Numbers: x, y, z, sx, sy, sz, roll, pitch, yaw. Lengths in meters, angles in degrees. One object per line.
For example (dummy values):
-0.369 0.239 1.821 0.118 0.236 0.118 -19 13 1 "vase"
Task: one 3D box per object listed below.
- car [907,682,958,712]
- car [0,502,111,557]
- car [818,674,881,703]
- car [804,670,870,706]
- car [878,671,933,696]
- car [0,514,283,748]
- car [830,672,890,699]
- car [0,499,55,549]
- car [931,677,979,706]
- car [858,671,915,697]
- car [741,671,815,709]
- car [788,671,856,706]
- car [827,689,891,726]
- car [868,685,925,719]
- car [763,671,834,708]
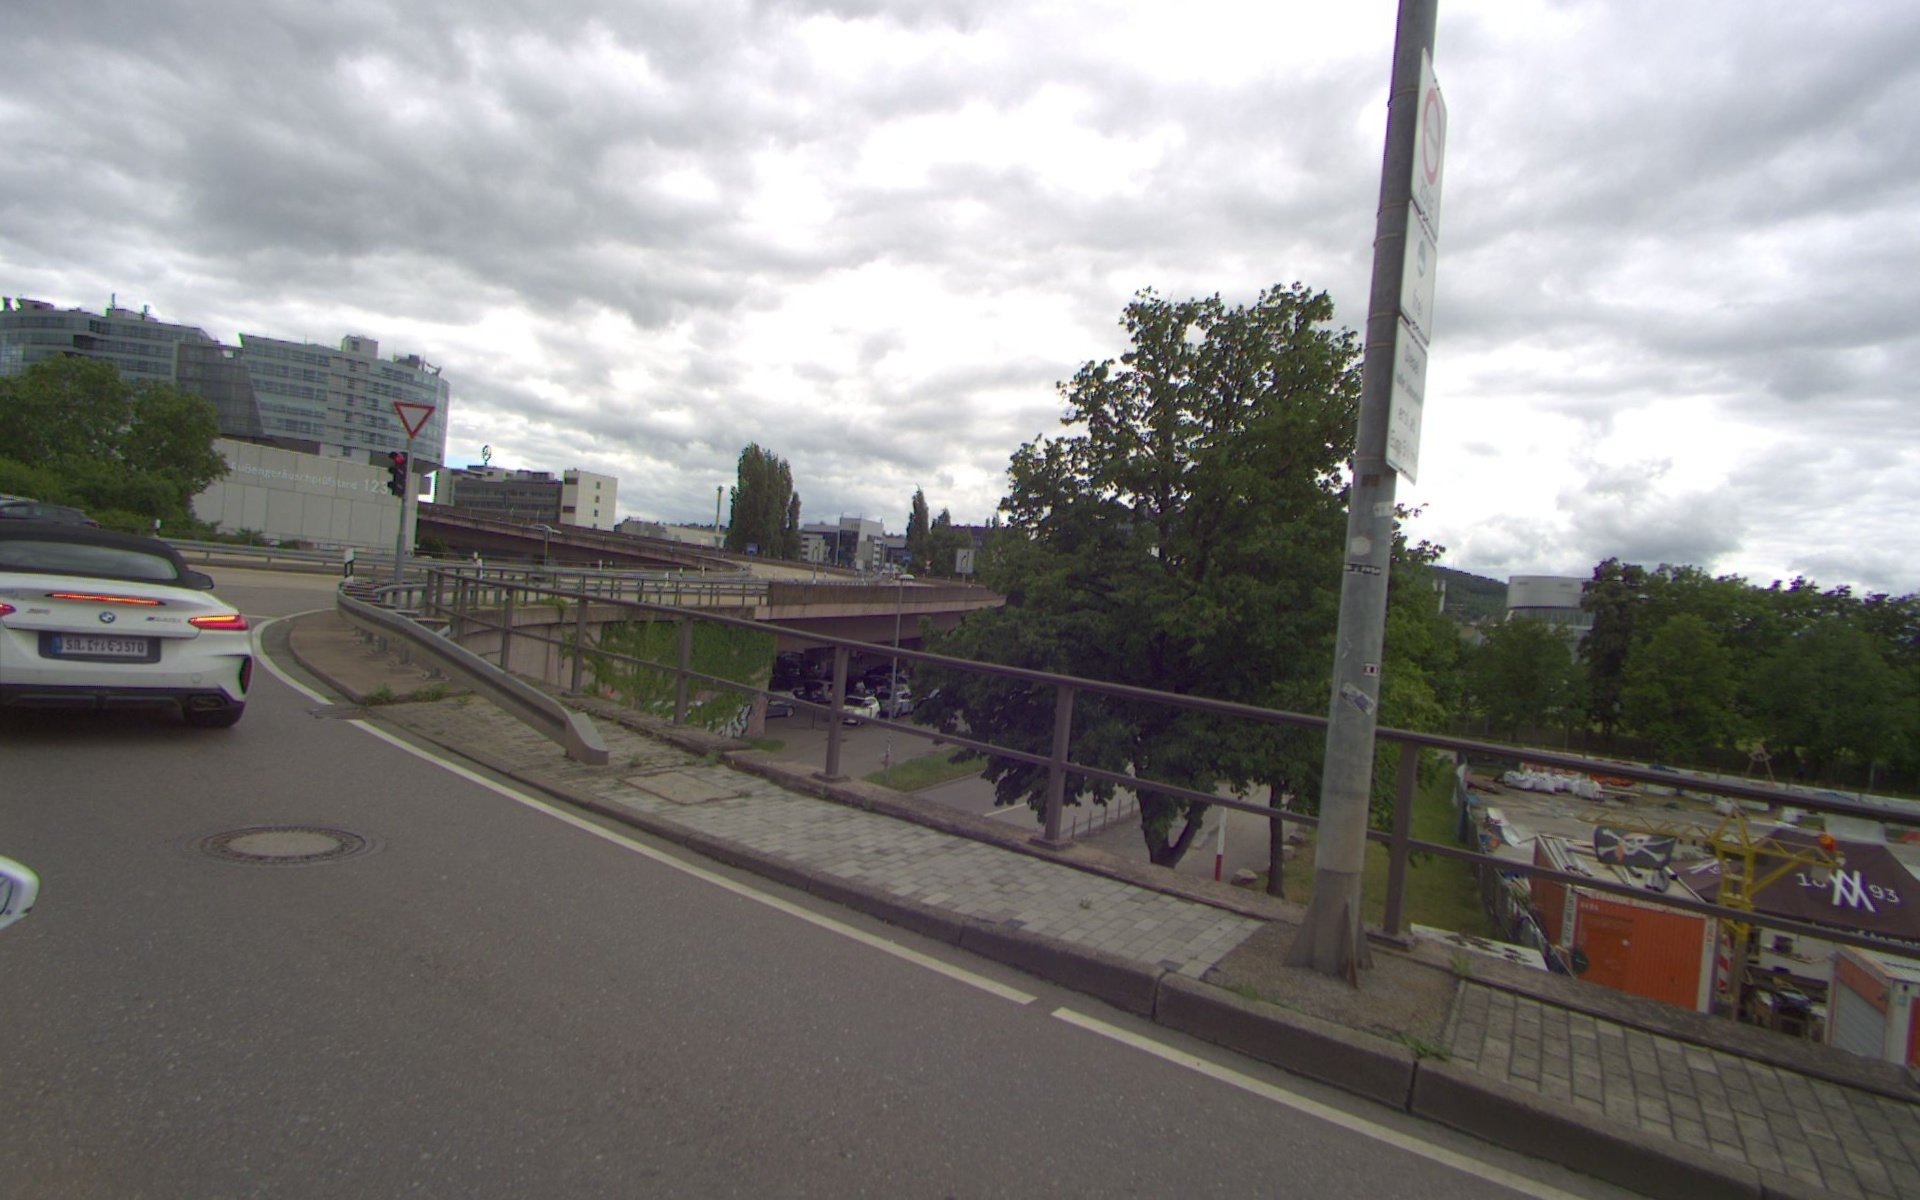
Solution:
-1.787 6.358 66.271 1.793 1.553 3.997 7 1 22 "car"
-32.532 -2.559 34.596 1.921 1.475 4.616 7 -1 27 "car"
-7.621 6.089 69.271 3.790 1.372 1.826 7 1 17 "car"
-8.161 5.813 66.981 3.790 1.783 1.826 7 1 17 "car"
-4.213 6.489 78.372 3.790 1.372 1.826 7 1 17 "car"
-6.811 0.077 7.444 4.202 1.306 1.804 6 -2 40 "car"
-7.125 6.069 71.689 3.790 1.372 1.826 7 1 17 "car"
-36.073 -2.997 36.272 1.922 1.590 4.687 7 -1 29 "car"
-0.340 6.349 70.319 1.793 1.553 4.192 7 1 22 "car"
-5.541 6.302 75.867 3.790 1.372 1.826 7 1 17 "car"
-10.923 5.353 60.416 3.790 1.658 1.826 7 1 17 "car"
-8.864 5.707 64.863 3.790 1.638 1.826 7 1 17 "car"
-5.554 5.952 55.937 1.793 1.553 3.997 7 1 22 "car"
-3.803 6.116 60.752 1.793 1.553 3.997 7 1 22 "car"
-10.015 5.534 62.431 3.790 1.658 1.826 7 1 17 "car"
